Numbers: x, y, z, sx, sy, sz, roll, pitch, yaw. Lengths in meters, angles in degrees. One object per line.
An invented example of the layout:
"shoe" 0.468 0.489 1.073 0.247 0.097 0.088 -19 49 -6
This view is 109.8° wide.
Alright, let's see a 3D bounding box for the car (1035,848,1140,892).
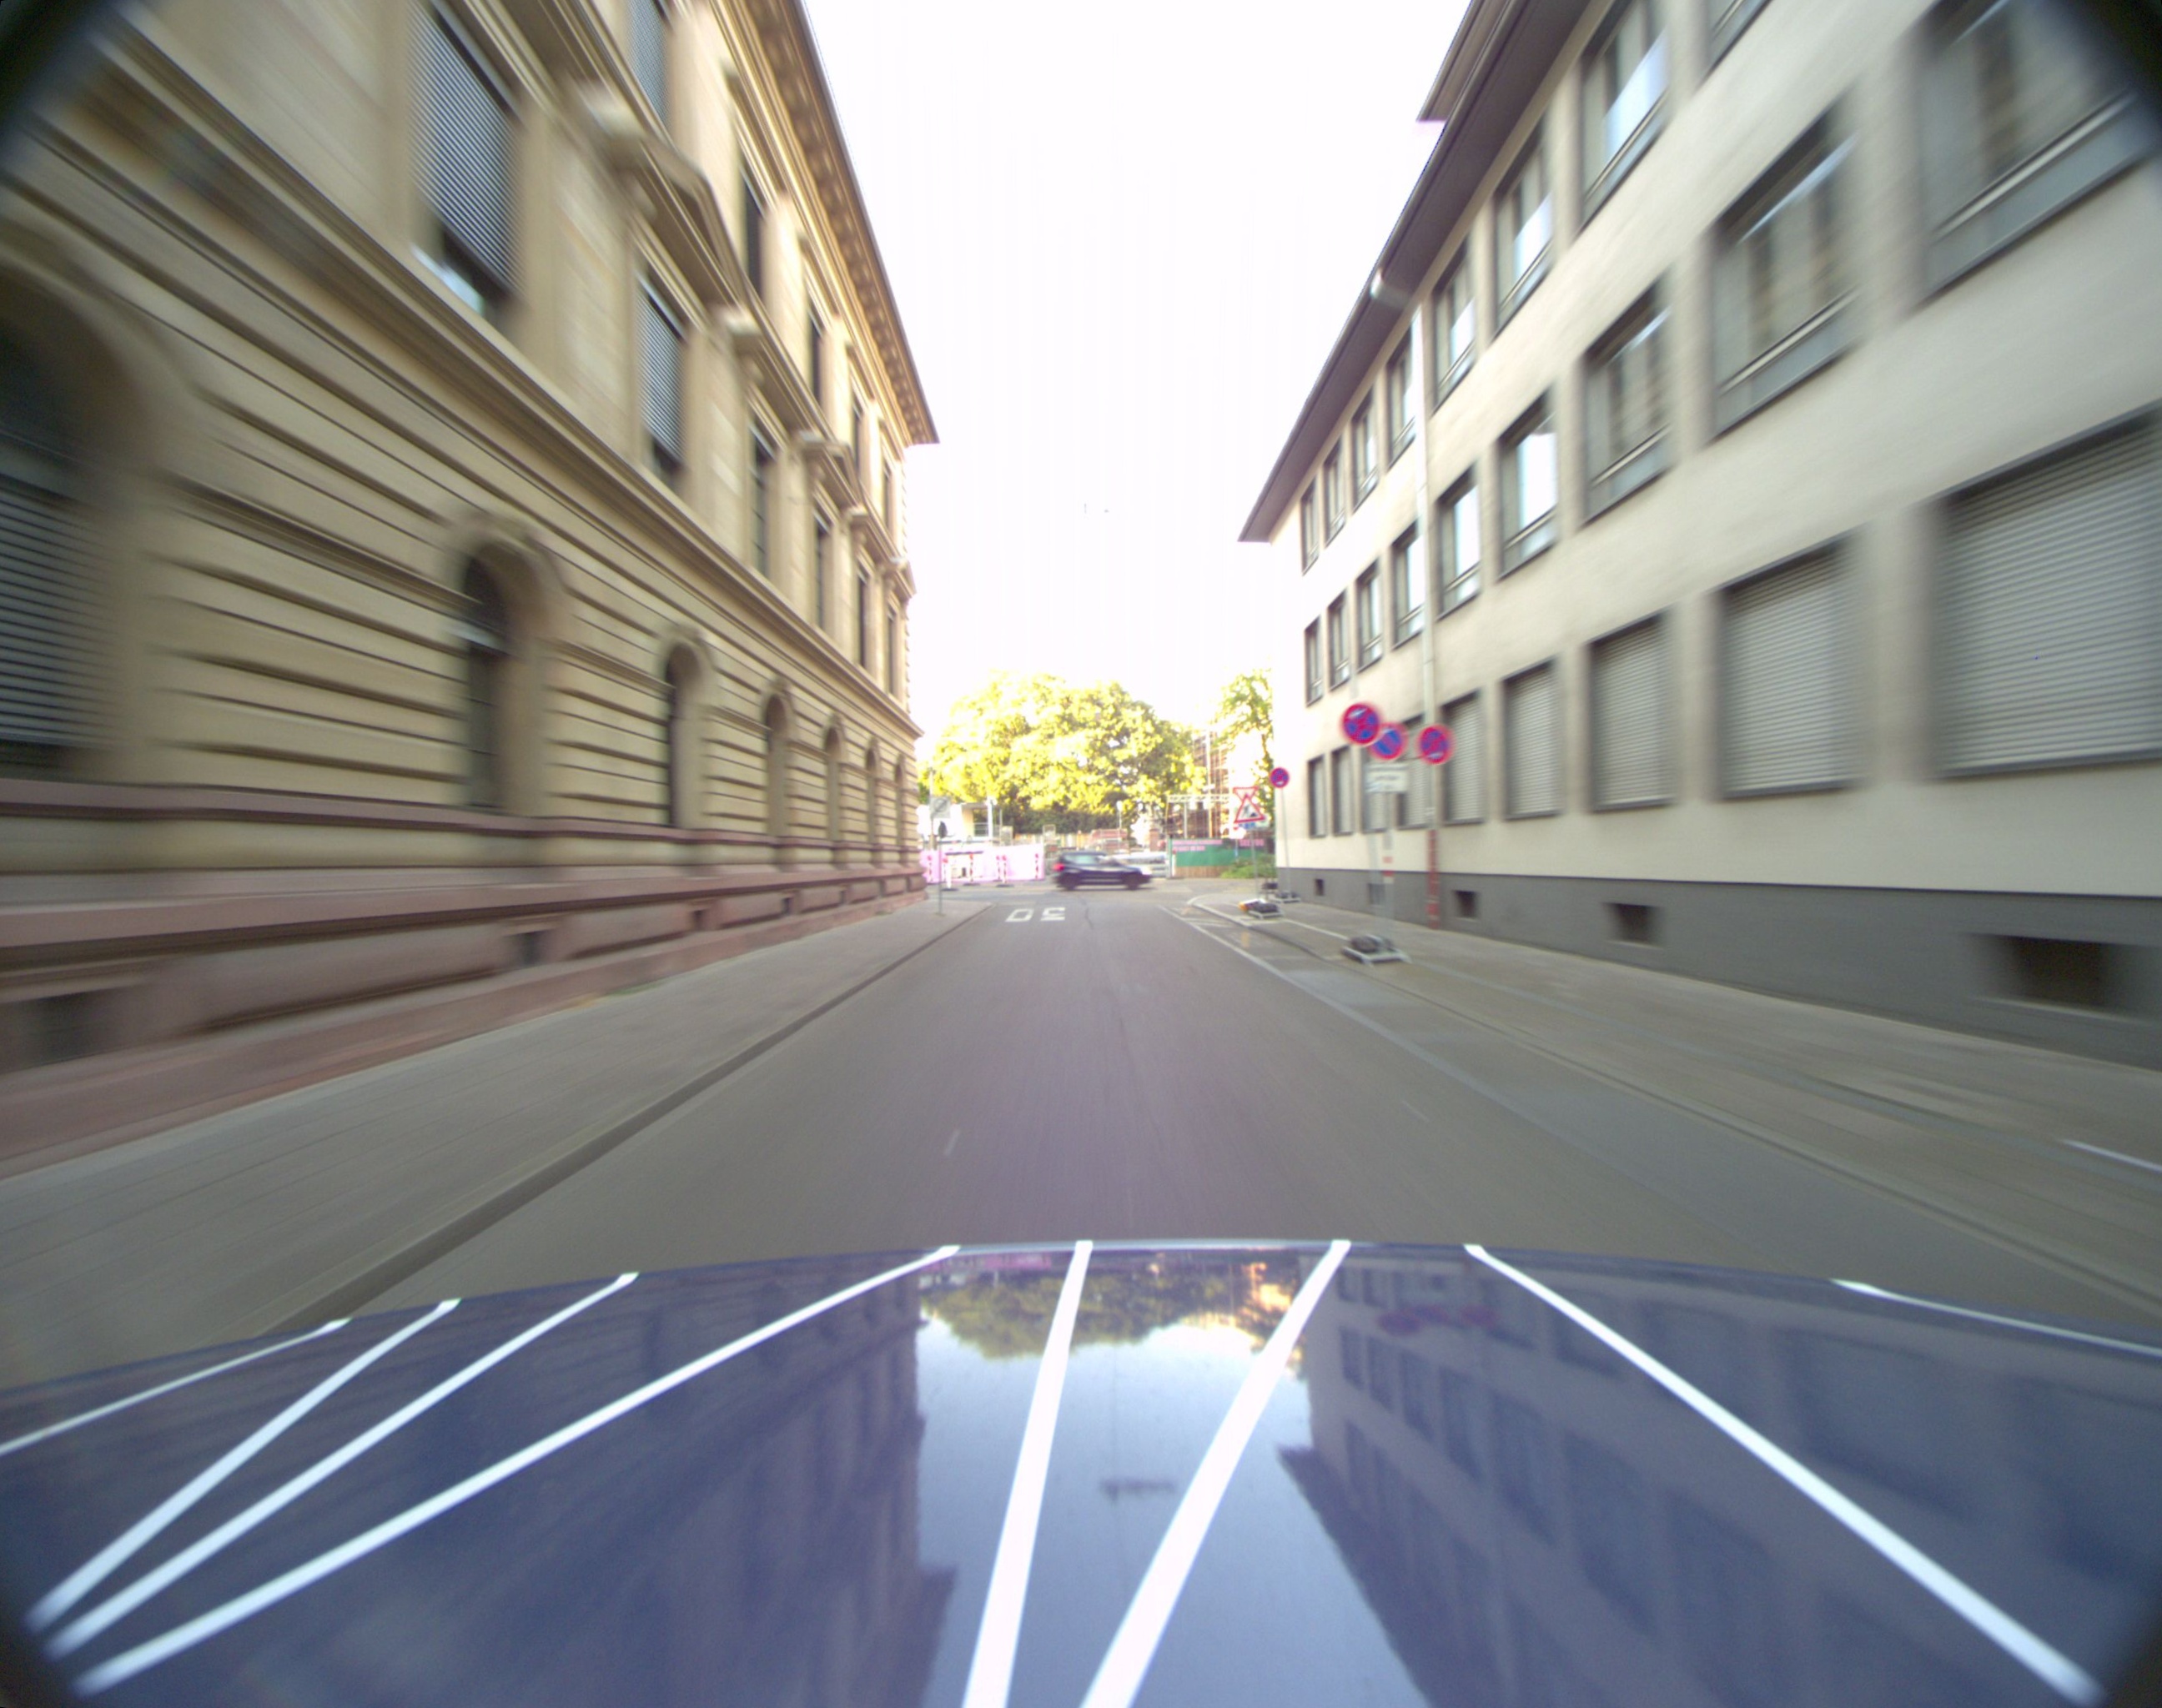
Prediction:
"car" 0.315 0.642 31.951 4.248 1.648 1.937 -2 1 3
